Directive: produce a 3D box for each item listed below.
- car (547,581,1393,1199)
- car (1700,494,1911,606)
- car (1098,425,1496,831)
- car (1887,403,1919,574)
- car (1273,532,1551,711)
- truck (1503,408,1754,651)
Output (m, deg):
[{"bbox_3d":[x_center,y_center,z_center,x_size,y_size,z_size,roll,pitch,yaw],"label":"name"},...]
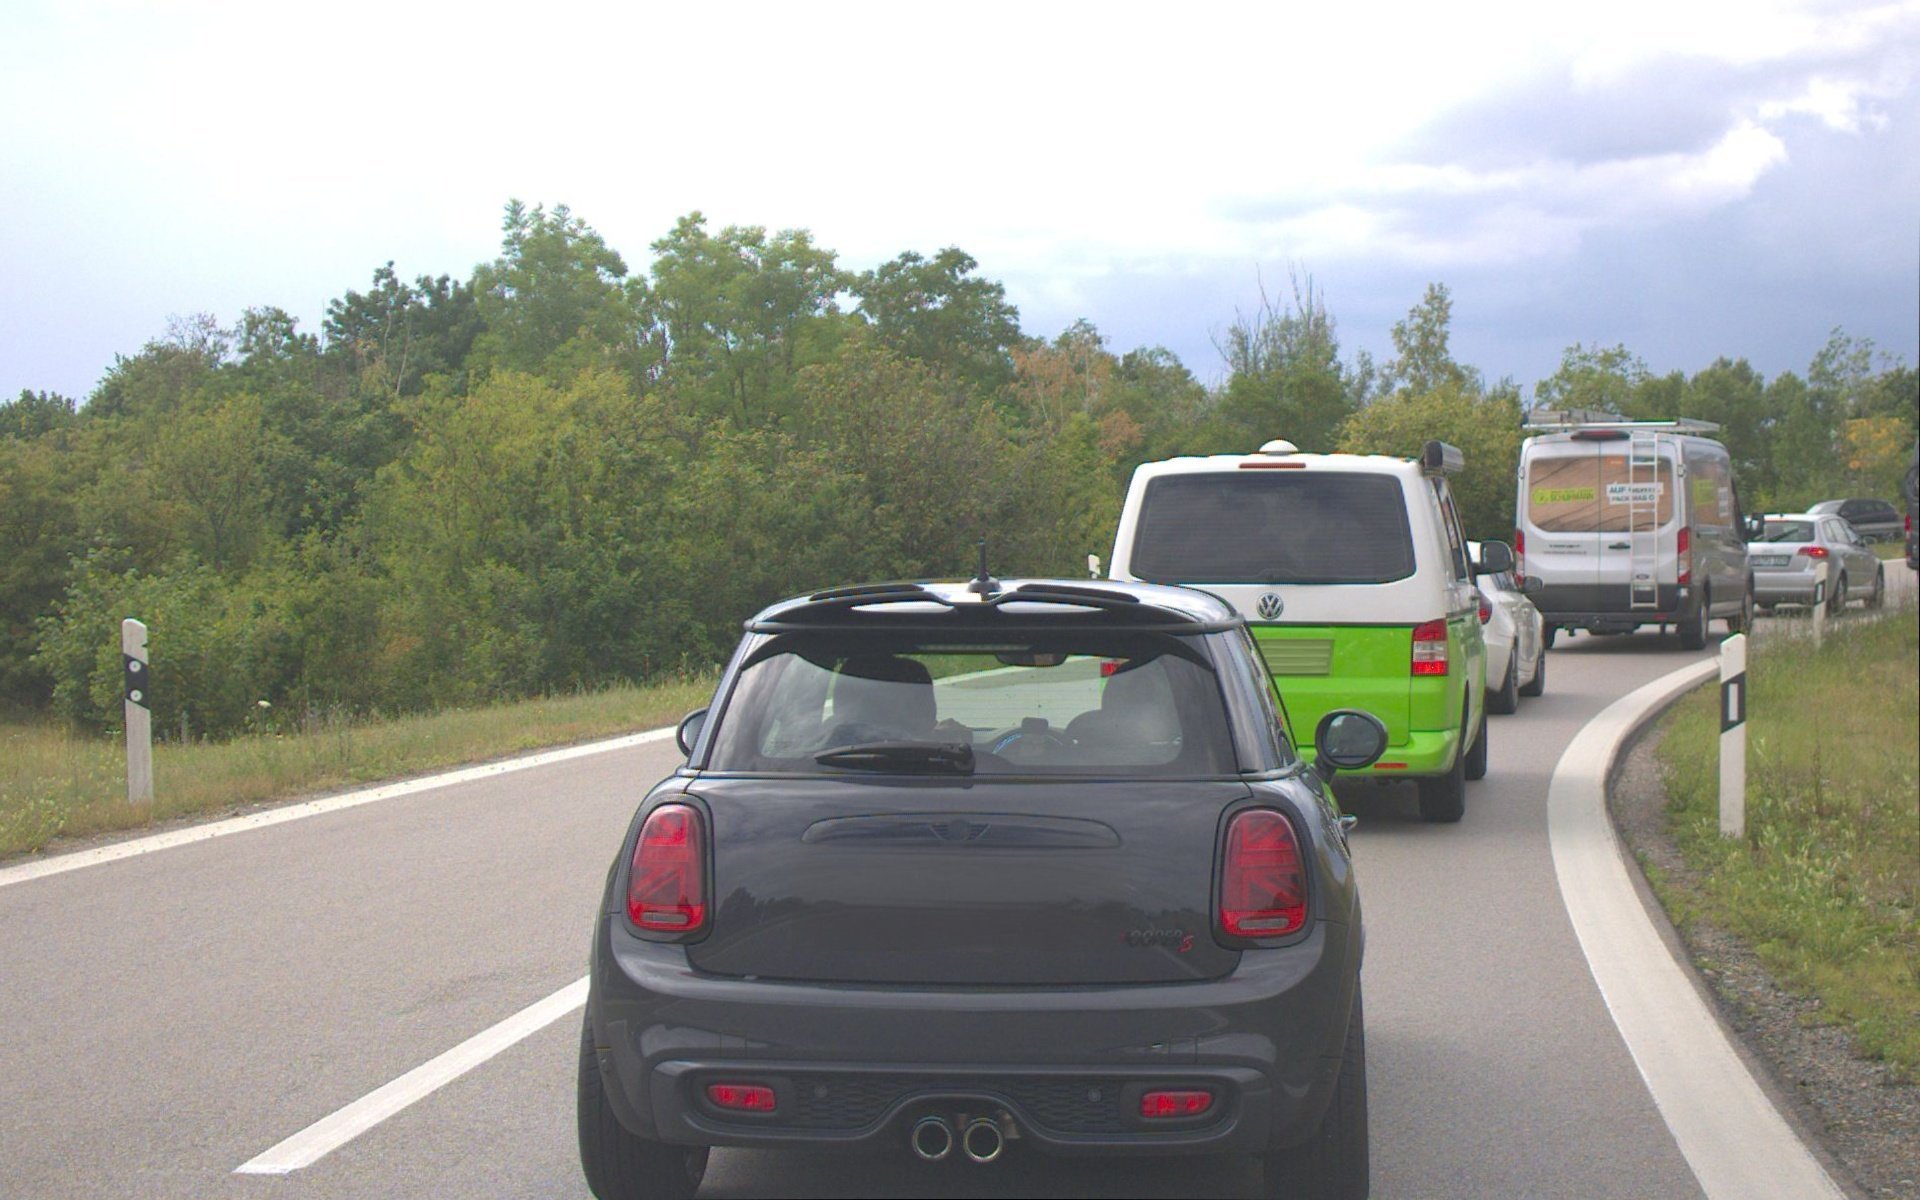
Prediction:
[{"bbox_3d":[0.100,0.662,8.913,1.727,1.409,3.725,0,0,3],"label":"car"},{"bbox_3d":[11.976,-0.688,48.558,1.869,1.505,3.993,0,0,30],"label":"car"},{"bbox_3d":[1.978,0.116,19.131,1.785,2.007,3.998,1,0,12],"label":"car"},{"bbox_3d":[17.012,-1.813,57.485,2.108,2.787,3.994,1,1,27],"label":"car"},{"bbox_3d":[3.849,0.154,28.798,1.763,1.394,3.722,0,0,16],"label":"car"},{"bbox_3d":[7.883,-0.825,40.154,2.180,2.649,5.104,0,1,19],"label":"truck"}]
